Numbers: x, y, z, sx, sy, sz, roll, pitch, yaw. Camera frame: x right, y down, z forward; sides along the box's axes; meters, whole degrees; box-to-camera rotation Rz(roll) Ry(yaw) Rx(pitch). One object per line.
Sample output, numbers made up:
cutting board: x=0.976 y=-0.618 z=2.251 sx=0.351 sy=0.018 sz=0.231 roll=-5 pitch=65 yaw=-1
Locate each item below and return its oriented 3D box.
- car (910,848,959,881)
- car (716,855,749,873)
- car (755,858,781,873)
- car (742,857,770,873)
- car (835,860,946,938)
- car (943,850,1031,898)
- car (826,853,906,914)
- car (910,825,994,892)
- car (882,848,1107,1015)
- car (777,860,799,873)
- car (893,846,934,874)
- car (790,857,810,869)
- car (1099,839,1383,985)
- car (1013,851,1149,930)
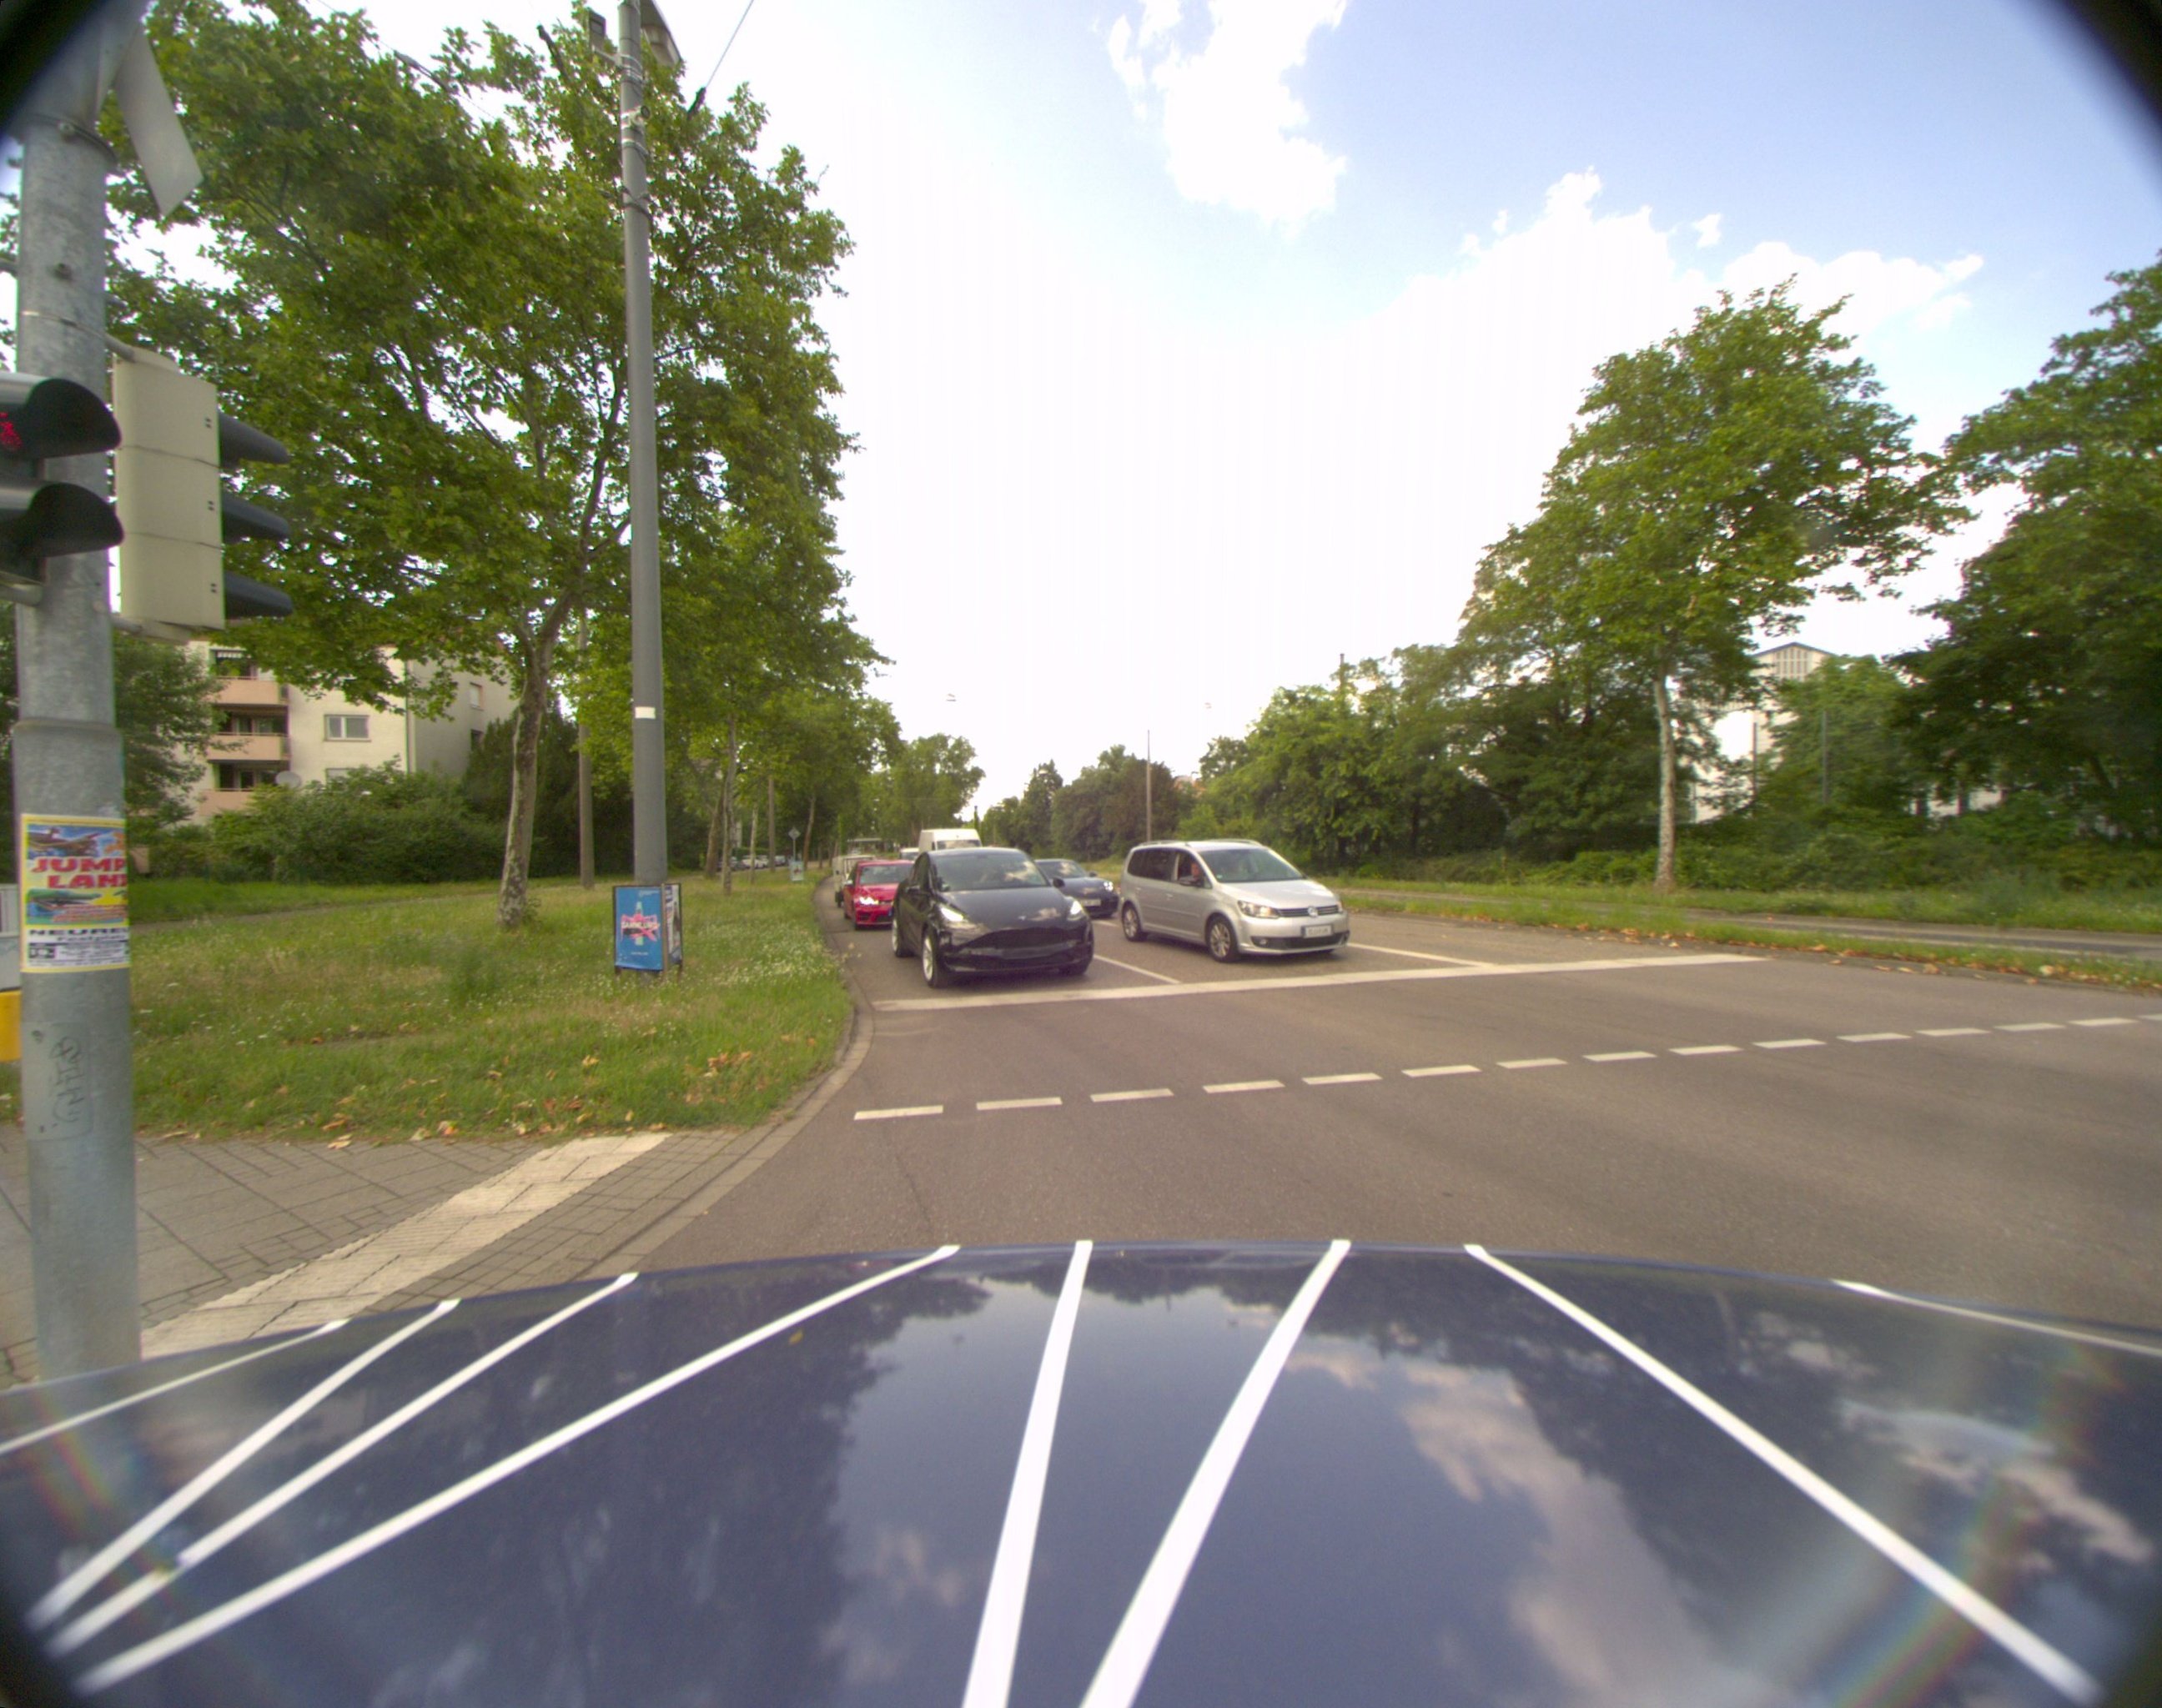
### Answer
car: x=-7.752 y=0.512 z=39.951 sx=1.846 sy=1.609 sz=4.148 roll=-2 pitch=1 yaw=-21
car: x=-33.966 y=0.990 z=74.109 sx=1.776 sy=1.586 sz=3.655 roll=-1 pitch=-1 yaw=-6
car: x=-35.975 y=1.322 z=87.391 sx=1.776 sy=1.586 sz=3.655 roll=-1 pitch=-1 yaw=-6
car: x=-35.561 y=1.221 z=83.127 sx=1.776 sy=1.586 sz=3.655 roll=-1 pitch=-1 yaw=-6
car: x=-4.487 y=0.907 z=17.374 sx=1.804 sy=1.383 sz=4.493 roll=-3 pitch=2 yaw=-22
car: x=-3.184 y=0.585 z=24.946 sx=1.766 sy=1.367 sz=4.335 roll=-3 pitch=2 yaw=-22
car: x=-6.630 y=0.809 z=23.117 sx=1.804 sy=1.561 sz=4.493 roll=-3 pitch=2 yaw=-22
car: x=-5.657 y=0.128 z=32.555 sx=2.230 sy=2.516 sz=5.921 roll=-3 pitch=2 yaw=-22
car: x=-1.435 y=0.781 z=10.308 sx=1.933 sy=1.643 sz=4.571 roll=-3 pitch=2 yaw=-20
car: x=-37.834 y=1.598 z=98.251 sx=1.776 sy=1.586 sz=3.655 roll=-1 pitch=-1 yaw=-6
car: x=-10.492 y=0.332 z=47.486 sx=1.767 sy=1.637 sz=4.335 roll=-1 pitch=1 yaw=-22
car: x=-39.211 y=1.257 z=106.025 sx=1.776 sy=1.586 sz=3.655 roll=-1 pitch=-1 yaw=-6
car: x=2.077 y=0.664 z=11.368 sx=1.933 sy=1.643 sz=4.493 roll=-3 pitch=2 yaw=-22
car: x=-0.141 y=0.722 z=17.534 sx=1.806 sy=1.499 sz=3.992 roll=-3 pitch=2 yaw=-20
